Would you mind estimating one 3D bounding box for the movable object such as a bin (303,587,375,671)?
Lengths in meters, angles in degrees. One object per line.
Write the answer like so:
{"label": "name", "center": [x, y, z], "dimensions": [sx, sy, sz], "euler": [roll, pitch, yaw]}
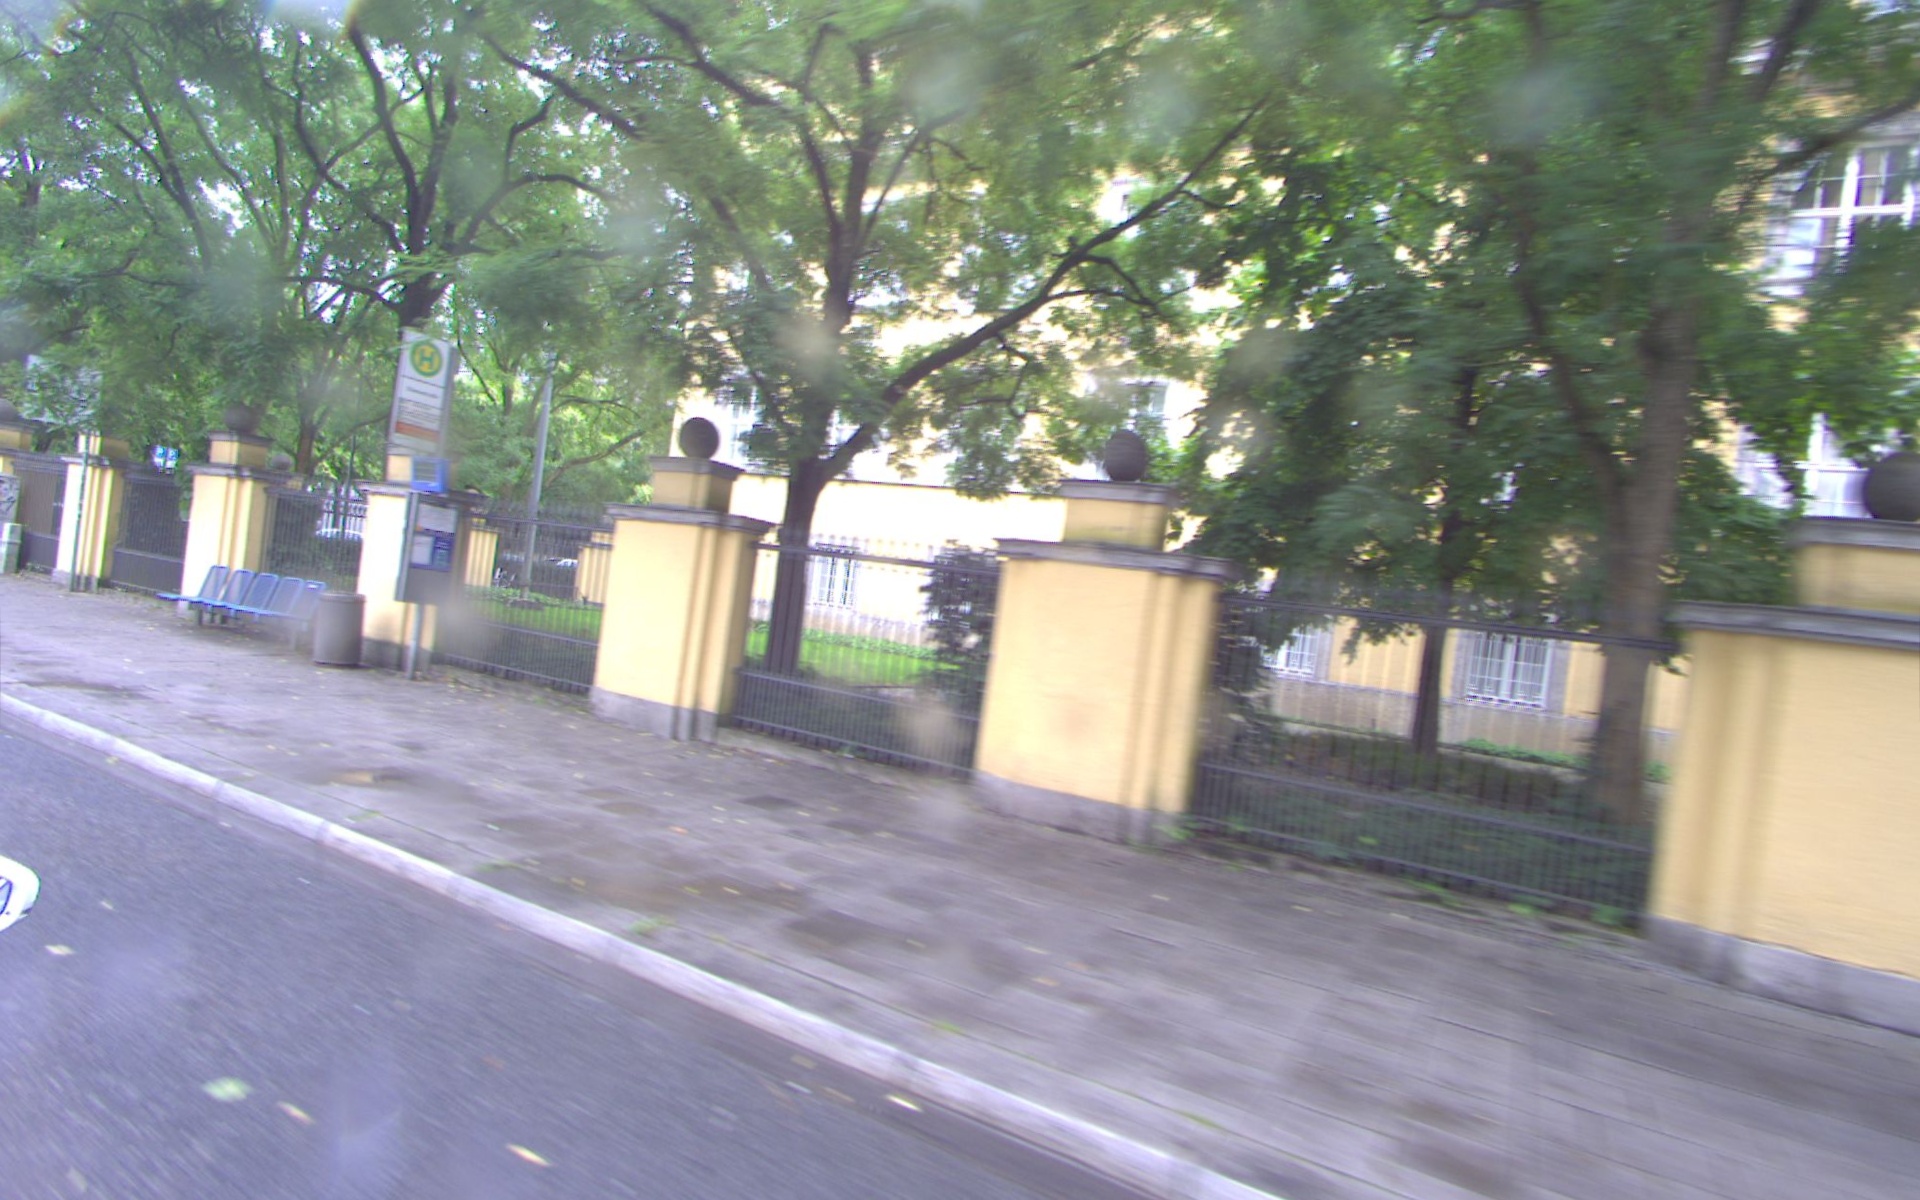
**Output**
{"label": "movable object such as a bin", "center": [-6.333, 0.294, 10.262], "dimensions": [0.457, 0.790, 0.397], "euler": [7, 1, 32]}
